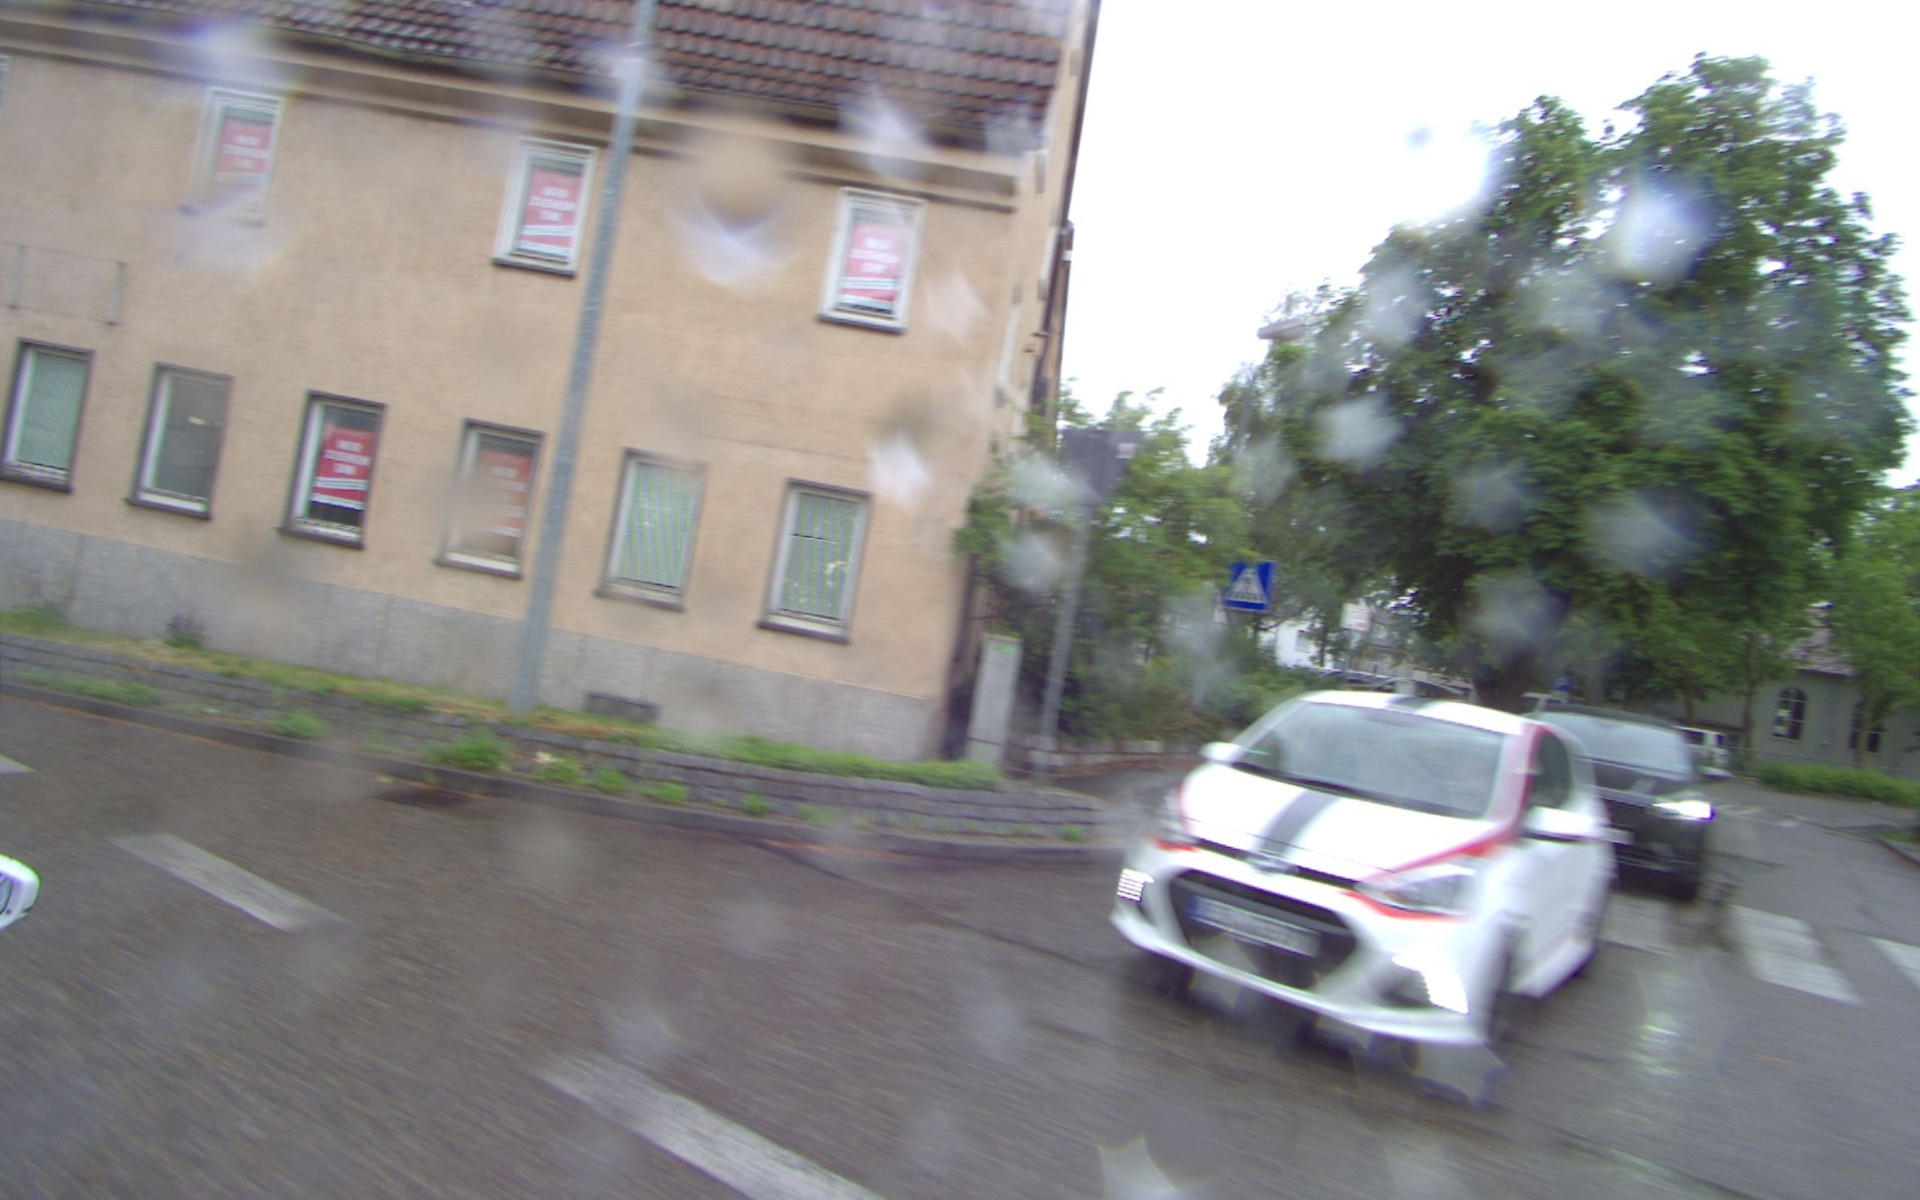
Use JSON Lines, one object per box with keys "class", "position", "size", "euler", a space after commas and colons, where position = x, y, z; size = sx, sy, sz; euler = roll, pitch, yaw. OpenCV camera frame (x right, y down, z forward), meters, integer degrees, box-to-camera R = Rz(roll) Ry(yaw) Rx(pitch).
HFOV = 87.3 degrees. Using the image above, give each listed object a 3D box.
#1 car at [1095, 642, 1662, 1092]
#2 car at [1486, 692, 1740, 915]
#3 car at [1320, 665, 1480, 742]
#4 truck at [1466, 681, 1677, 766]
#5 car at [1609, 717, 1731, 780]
{"class": "car", "position": [2.604, 1.249, 5.701], "size": [1.688, 1.469, 3.748], "euler": [8, -2, 42]}
{"class": "car", "position": [6.877, 2.003, 10.791], "size": [1.690, 1.591, 4.414], "euler": [9, -1, 32]}
{"class": "car", "position": [12.980, 3.023, 29.874], "size": [3.832, 1.591, 1.720], "euler": [9, -1, 3]}
{"class": "truck", "position": [24.030, 4.802, 39.880], "size": [2.288, 2.302, 6.621], "euler": [8, -2, -37]}
{"class": "car", "position": [30.679, 6.385, 43.521], "size": [1.846, 1.854, 3.792], "euler": [12, -3, -39]}
